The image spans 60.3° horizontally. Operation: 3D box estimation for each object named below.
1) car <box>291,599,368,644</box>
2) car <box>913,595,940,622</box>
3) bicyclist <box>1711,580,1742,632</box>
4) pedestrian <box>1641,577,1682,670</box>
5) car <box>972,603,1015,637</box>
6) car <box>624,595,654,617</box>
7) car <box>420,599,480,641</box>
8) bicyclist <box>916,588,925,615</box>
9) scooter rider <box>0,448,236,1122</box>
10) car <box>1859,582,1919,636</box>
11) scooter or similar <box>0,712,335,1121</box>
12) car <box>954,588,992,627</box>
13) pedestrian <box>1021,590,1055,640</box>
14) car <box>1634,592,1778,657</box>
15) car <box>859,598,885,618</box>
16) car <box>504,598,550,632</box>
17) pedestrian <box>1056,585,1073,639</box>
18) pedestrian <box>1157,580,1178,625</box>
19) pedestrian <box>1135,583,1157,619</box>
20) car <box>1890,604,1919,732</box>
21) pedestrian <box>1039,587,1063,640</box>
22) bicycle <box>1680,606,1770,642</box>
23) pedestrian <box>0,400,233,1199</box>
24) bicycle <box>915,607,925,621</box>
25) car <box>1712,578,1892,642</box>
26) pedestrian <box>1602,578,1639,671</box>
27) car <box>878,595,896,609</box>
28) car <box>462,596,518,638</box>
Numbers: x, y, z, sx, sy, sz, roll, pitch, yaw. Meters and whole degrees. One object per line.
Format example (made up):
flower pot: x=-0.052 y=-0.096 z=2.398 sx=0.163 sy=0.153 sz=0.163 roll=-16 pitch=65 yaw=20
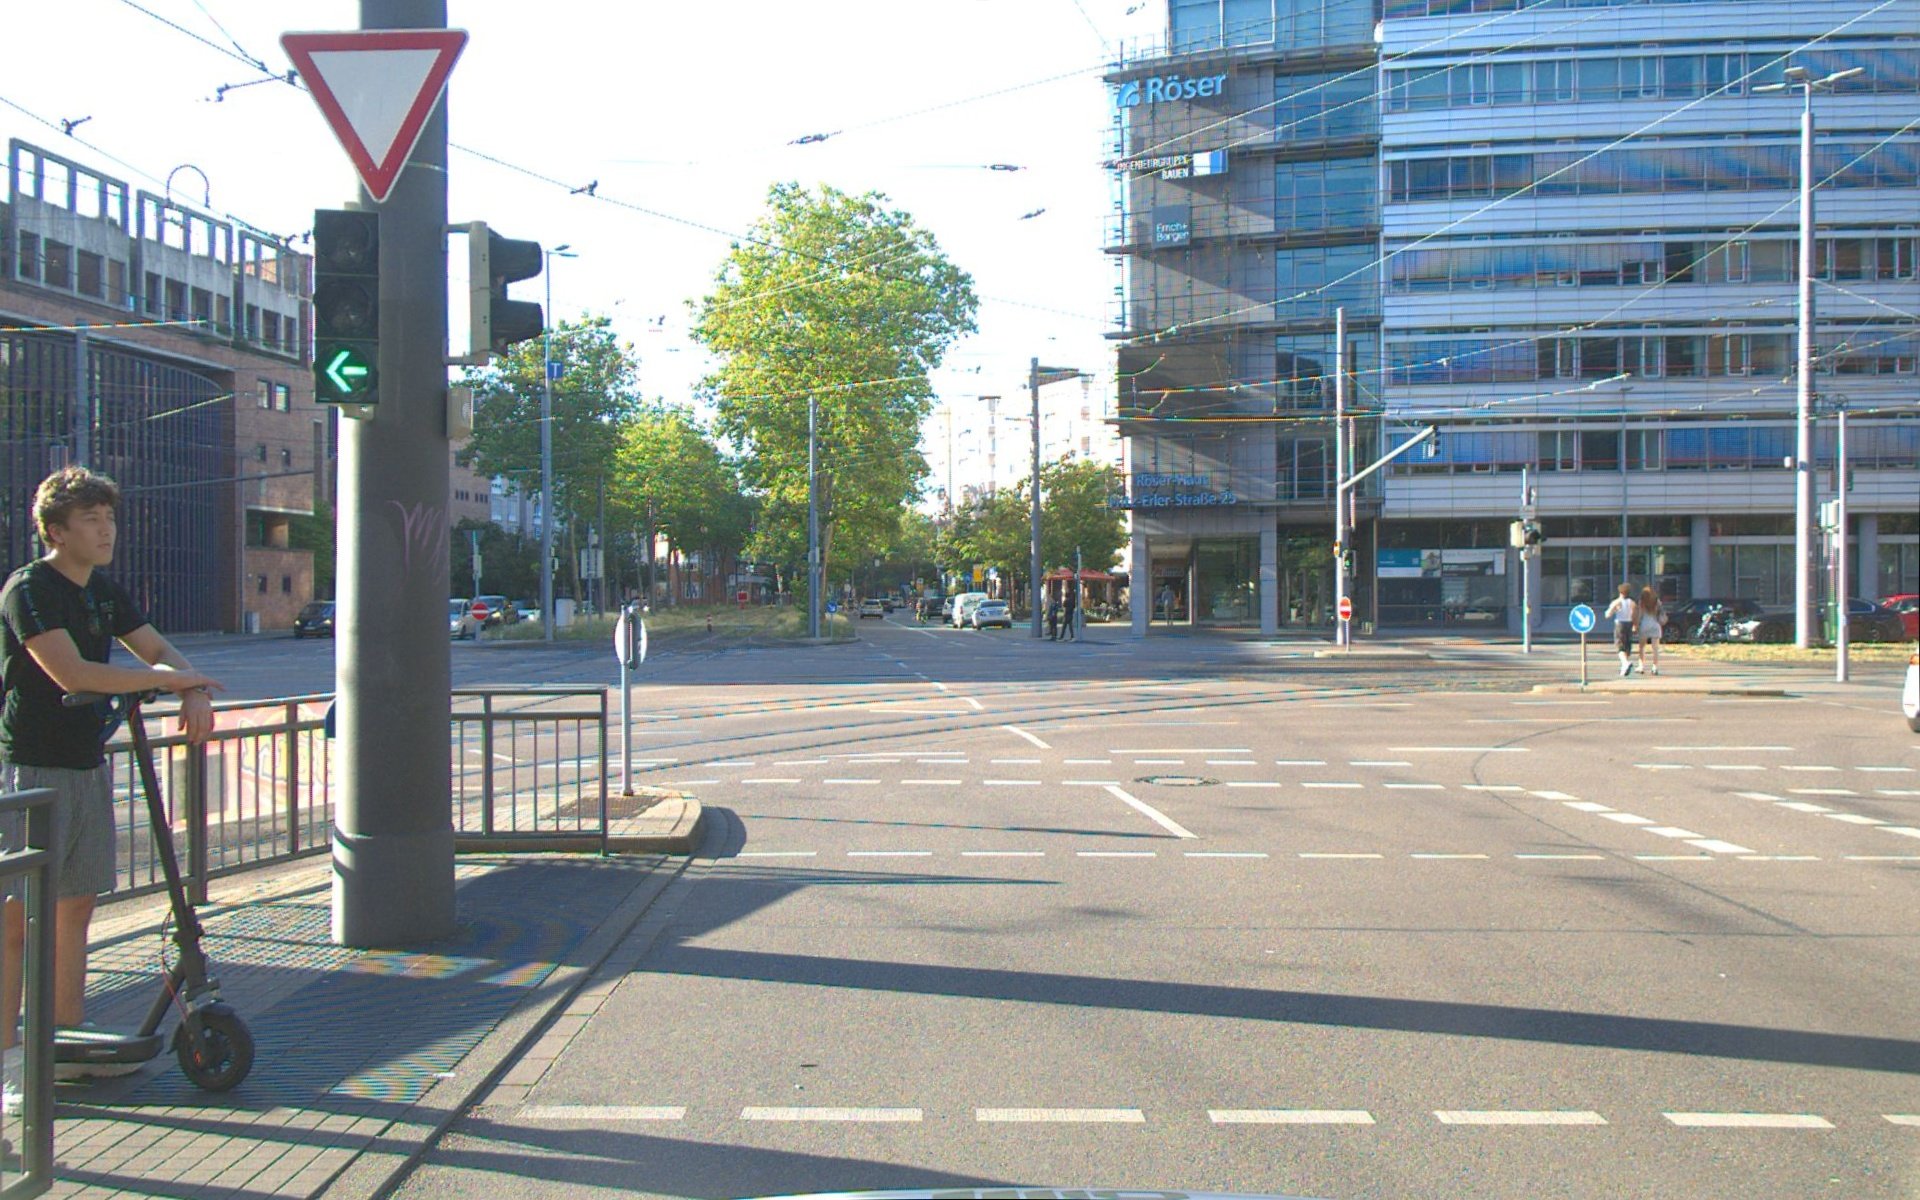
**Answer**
car: x=-29.880 y=0.994 z=78.543 sx=1.837 sy=2.049 sz=4.472 roll=-1 pitch=0 yaw=2
car: x=-2.557 y=0.651 z=126.519 sx=1.953 sy=2.049 sz=3.999 roll=1 pitch=-1 yaw=-1
bicyclist: x=23.041 y=0.176 z=49.745 sx=0.649 sy=1.529 sz=0.613 roll=-1 pitch=0 yaw=4
pedestrian: x=13.778 y=0.455 z=32.495 sx=0.669 sy=1.789 sz=0.742 roll=-1 pitch=0 yaw=20
car: x=1.653 y=1.009 z=82.724 sx=1.988 sy=1.624 sz=3.999 roll=1 pitch=-1 yaw=-1
car: x=-27.165 y=0.503 z=140.137 sx=1.807 sy=1.814 sz=3.999 roll=-1 pitch=0 yaw=-1
car: x=-20.582 y=0.776 z=66.843 sx=1.591 sy=1.604 sz=3.994 roll=-1 pitch=0 yaw=-7
bicyclist: x=-2.182 y=0.077 z=90.902 sx=0.477 sy=1.465 sz=0.615 roll=1 pitch=-1 yaw=-1
scooter rider: x=-2.630 y=0.526 z=4.996 sx=0.554 sy=1.885 sz=0.680 roll=-1 pitch=-2 yaw=4
car: x=29.363 y=0.310 z=49.511 sx=3.903 sy=1.579 sz=1.798 roll=1 pitch=-1 yaw=4
scooter or similar: x=-2.606 y=0.915 z=4.987 sx=1.177 sy=1.100 sz=0.648 roll=-1 pitch=0 yaw=3
car: x=0.687 y=0.404 z=89.455 sx=1.953 sy=2.049 sz=3.999 roll=1 pitch=-1 yaw=-1
pedestrian: x=3.108 y=0.600 z=66.071 sx=1.315 sy=1.984 sz=1.011 roll=0 pitch=-1 yaw=-1
car: x=24.882 y=0.807 z=55.247 sx=3.906 sy=2.049 sz=2.000 roll=1 pitch=-1 yaw=-1
car: x=-6.686 y=0.574 z=126.378 sx=1.712 sy=1.443 sz=4.001 roll=0 pitch=1 yaw=1
car: x=-21.499 y=0.758 z=82.269 sx=1.644 sy=1.635 sz=3.994 roll=1 pitch=-1 yaw=-7
pedestrian: x=3.967 y=0.462 z=62.941 sx=0.574 sy=2.049 sz=0.620 roll=1 pitch=-1 yaw=0
pedestrian: x=9.455 y=0.119 z=75.320 sx=0.852 sy=2.049 sz=0.793 roll=1 pitch=-2 yaw=-1
pedestrian: x=11.459 y=0.065 z=101.723 sx=1.285 sy=2.228 sz=1.171 roll=1 pitch=-1 yaw=5
car: x=12.682 y=0.790 z=19.743 sx=3.952 sy=1.453 sz=1.615 roll=0 pitch=0 yaw=-42
pedestrian: x=3.536 y=0.514 z=64.244 sx=0.831 sy=2.049 sz=0.708 roll=1 pitch=-1 yaw=0
bicycle: x=23.001 y=0.721 z=49.747 sx=2.359 sy=1.040 sz=0.637 roll=-1 pitch=0 yaw=4
pedestrian: x=-2.632 y=0.512 z=4.207 sx=1.143 sy=1.917 sz=0.854 roll=-1 pitch=0 yaw=4
bicycle: x=-2.190 y=0.772 z=90.913 sx=0.481 sy=0.802 sz=1.861 roll=1 pitch=0 yaw=-1
car: x=23.939 y=0.279 z=47.132 sx=4.165 sy=1.753 sz=1.885 roll=-1 pitch=0 yaw=2
pedestrian: x=13.062 y=0.471 z=32.694 sx=0.663 sy=1.789 sz=0.742 roll=0 pitch=2 yaw=23
car: x=-7.514 y=0.247 z=170.441 sx=1.729 sy=1.429 sz=4.292 roll=0 pitch=0 yaw=-5
car: x=-21.097 y=0.734 z=74.334 sx=1.787 sy=1.821 sz=3.994 roll=-1 pitch=0 yaw=-7
